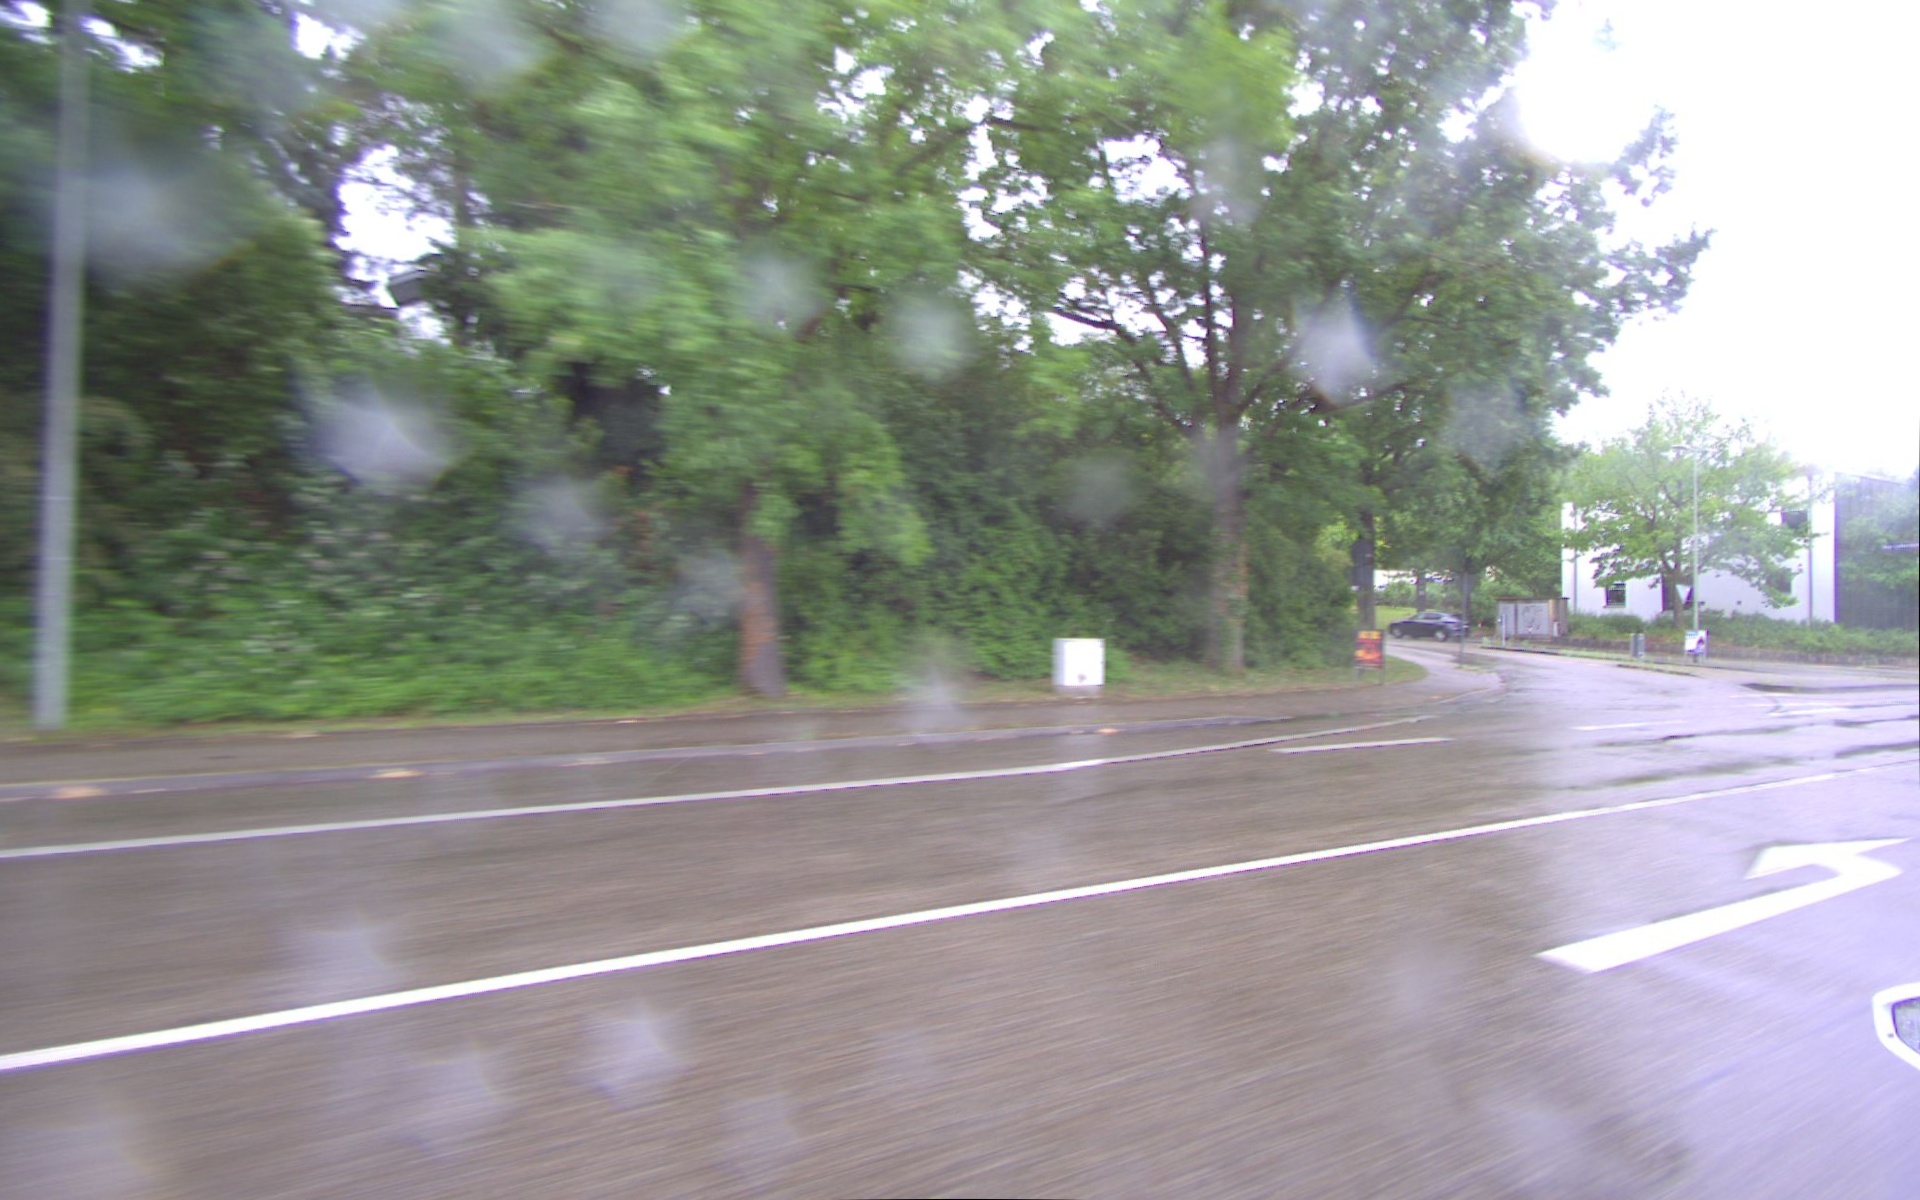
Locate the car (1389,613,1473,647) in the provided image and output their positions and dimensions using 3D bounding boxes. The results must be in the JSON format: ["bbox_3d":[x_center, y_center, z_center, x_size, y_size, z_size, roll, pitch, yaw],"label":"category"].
[{"bbox_3d":[26.440,1.648,56.466,1.780,1.786,3.965,1,0,-32],"label":"car"}]
